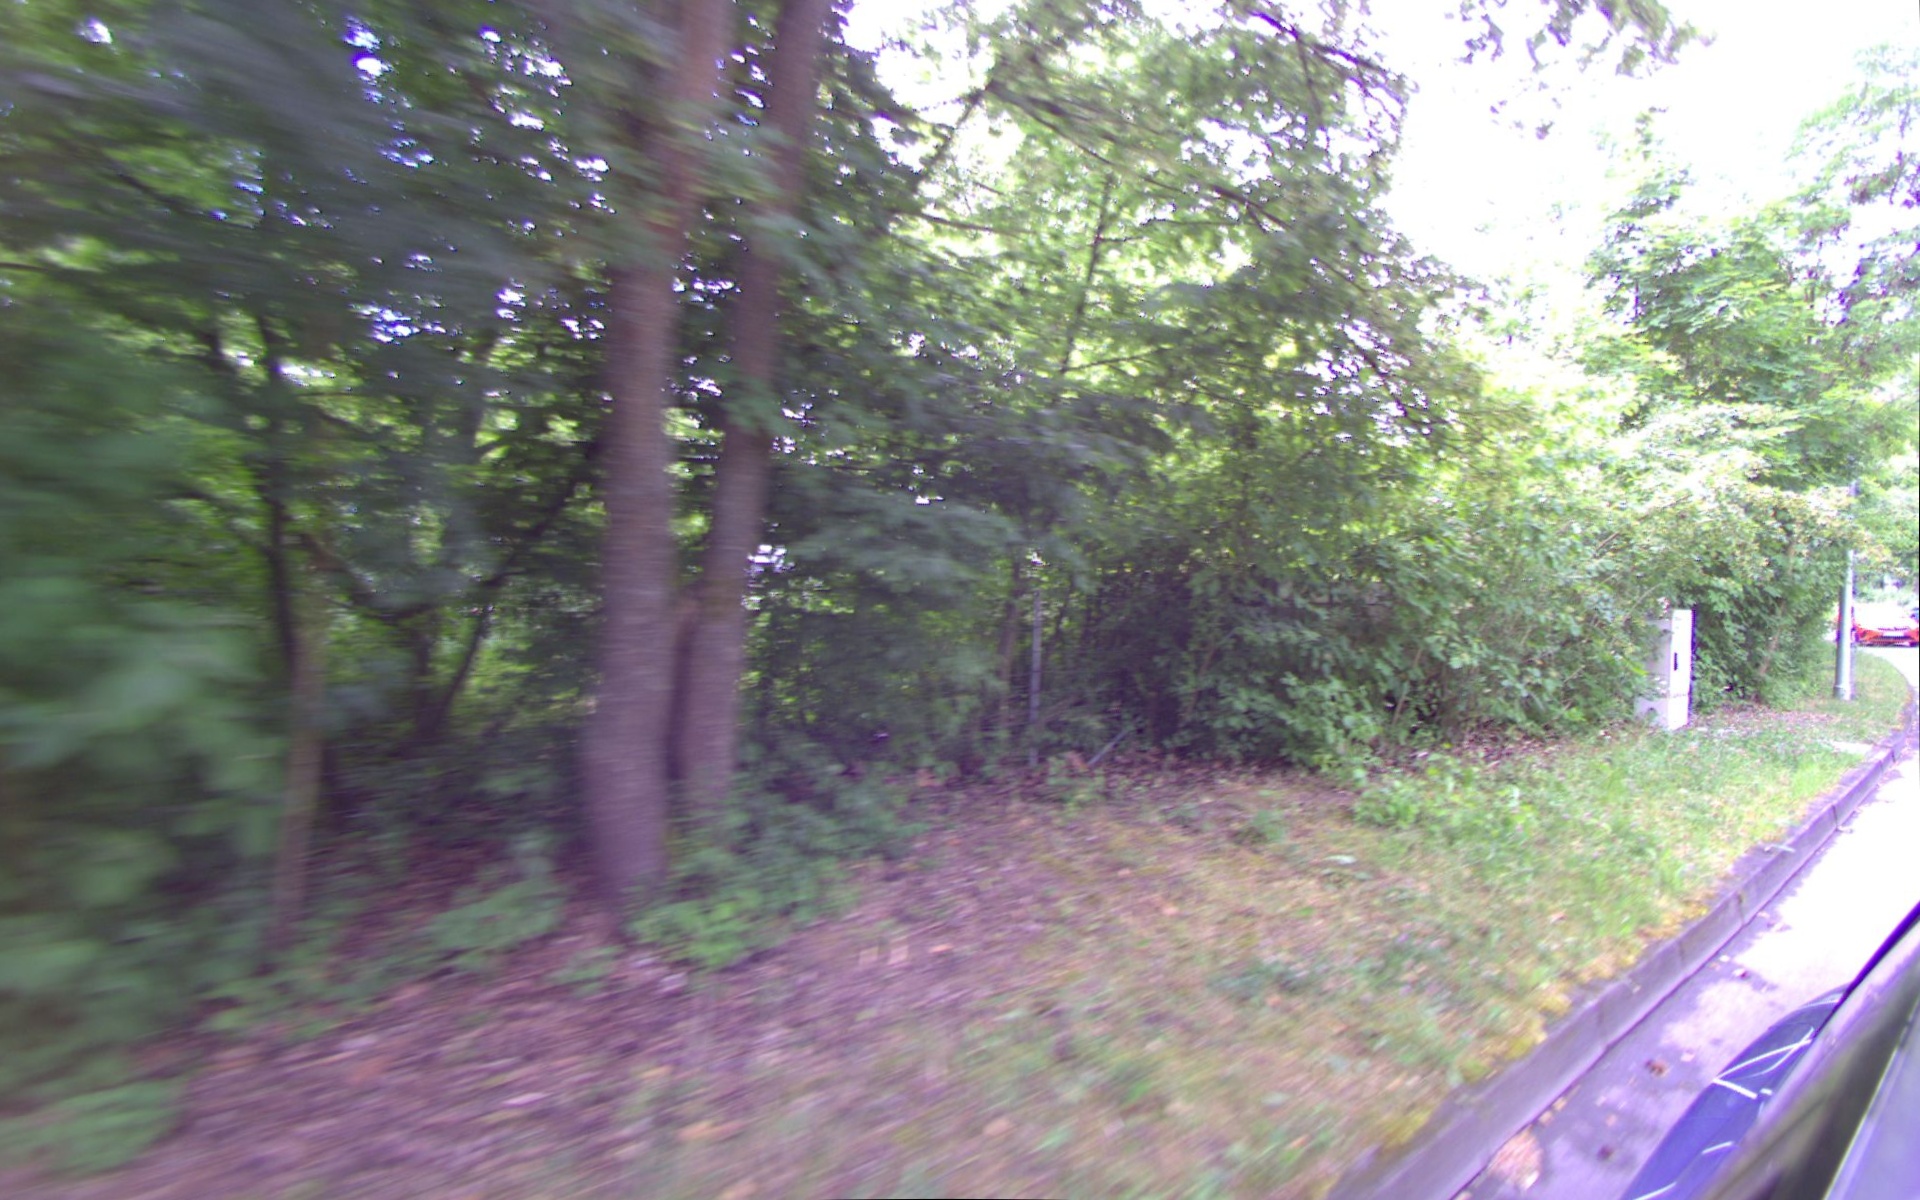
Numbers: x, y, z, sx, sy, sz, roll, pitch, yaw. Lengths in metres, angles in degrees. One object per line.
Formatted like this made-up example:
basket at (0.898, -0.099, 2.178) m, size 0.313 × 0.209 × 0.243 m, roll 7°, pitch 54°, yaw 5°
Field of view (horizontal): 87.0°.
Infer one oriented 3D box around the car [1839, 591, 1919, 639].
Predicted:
car at (32.279, 0.488, 35.155) m, size 1.933 × 1.551 × 4.041 m, roll 0°, pitch 0°, yaw 31°

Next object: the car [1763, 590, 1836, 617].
car at (49.082, 0.178, 59.261) m, size 1.828 × 1.510 × 3.979 m, roll 1°, pitch 1°, yaw 17°

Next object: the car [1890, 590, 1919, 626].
car at (41.788, 0.340, 43.175) m, size 1.832 × 1.510 × 3.970 m, roll 1°, pitch 1°, yaw 22°
